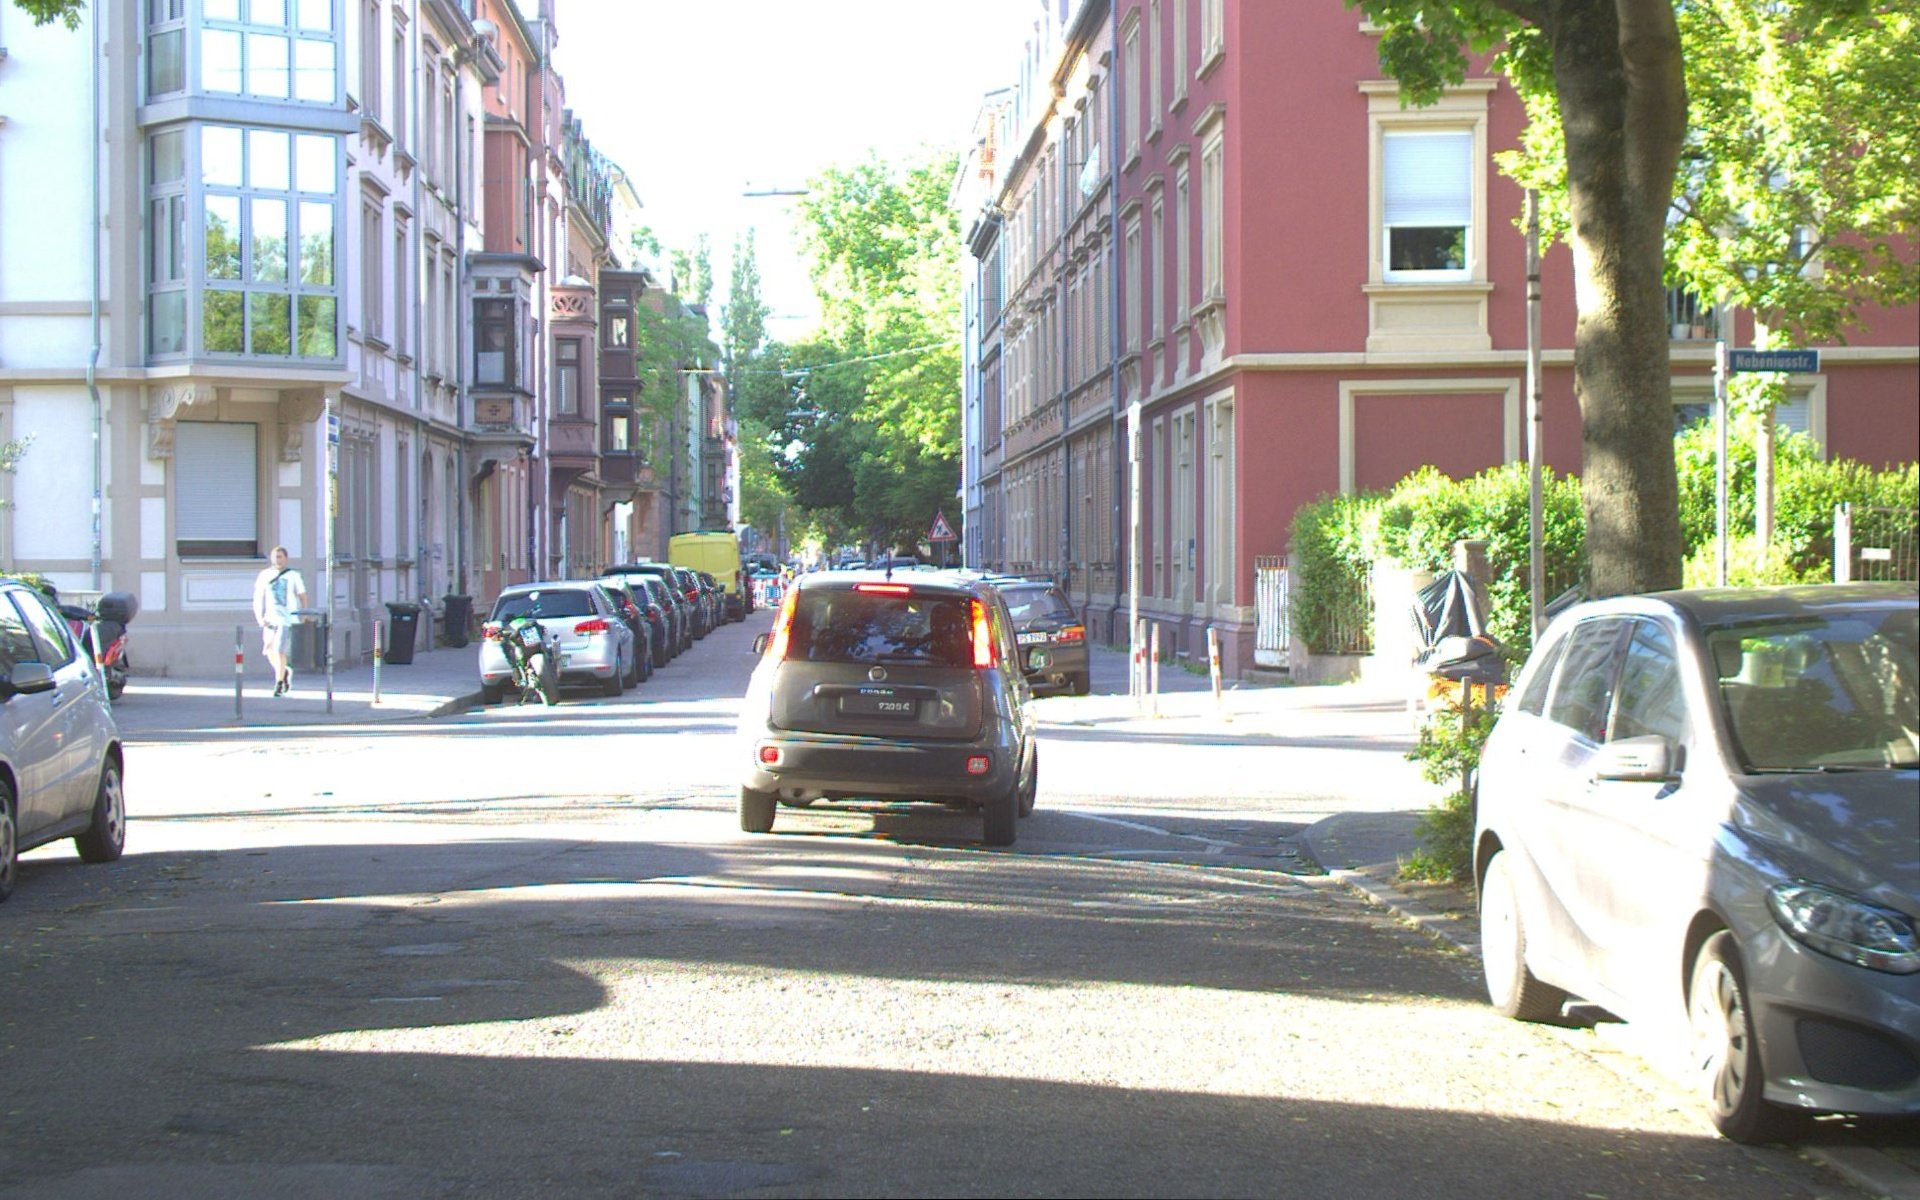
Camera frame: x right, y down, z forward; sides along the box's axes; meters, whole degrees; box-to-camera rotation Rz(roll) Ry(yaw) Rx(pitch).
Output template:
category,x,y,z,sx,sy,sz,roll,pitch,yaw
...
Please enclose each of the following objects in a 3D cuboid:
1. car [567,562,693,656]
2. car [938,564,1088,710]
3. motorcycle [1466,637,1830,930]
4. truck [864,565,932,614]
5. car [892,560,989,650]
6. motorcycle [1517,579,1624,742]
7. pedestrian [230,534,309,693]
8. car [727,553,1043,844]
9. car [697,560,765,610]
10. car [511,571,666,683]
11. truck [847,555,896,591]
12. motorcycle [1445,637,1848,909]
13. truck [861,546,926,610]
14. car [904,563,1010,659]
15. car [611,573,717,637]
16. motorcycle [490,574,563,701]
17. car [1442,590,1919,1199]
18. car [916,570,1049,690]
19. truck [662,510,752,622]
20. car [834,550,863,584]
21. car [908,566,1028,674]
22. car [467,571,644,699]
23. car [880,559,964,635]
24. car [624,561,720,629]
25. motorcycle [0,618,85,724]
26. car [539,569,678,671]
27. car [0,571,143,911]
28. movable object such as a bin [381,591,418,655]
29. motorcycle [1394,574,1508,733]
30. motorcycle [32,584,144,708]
category,x,y,z,sx,sy,sz,roll,pitch,yaw
car,-5.766,0.126,60.463,1.828,1.474,3.925,-4,1,-1
car,0.600,0.410,41.775,1.663,1.663,3.757,1,1,-1
motorcycle,3.133,0.824,15.724,1.502,1.262,0.619,-1,1,-3
truck,-1.903,-0.334,105.130,1.993,1.452,4.000,0,1,-2
car,-0.376,0.068,61.841,1.663,1.527,3.757,1,1,-1
motorcycle,5.791,0.549,32.745,0.826,1.399,2.556,0,2,6
pedestrian,-8.078,0.150,40.235,0.723,1.833,0.626,1,1,9
car,-0.375,0.521,20.537,1.633,1.545,3.264,2,1,2
car,-7.437,-0.497,111.914,1.961,1.474,3.925,-4,1,-1
car,-5.267,0.357,49.154,1.777,1.408,3.925,-4,1,-1
truck,-3.732,-1.143,144.666,1.993,1.452,4.000,0,1,-2
motorcycle,3.298,0.828,16.540,1.851,1.262,0.504,-1,1,13
truck,-2.150,-0.724,110.502,1.993,1.985,4.000,0,1,-2
car,-0.081,0.158,57.257,1.663,1.500,3.757,1,1,-1
car,-6.419,0.093,74.899,1.961,1.220,3.925,-4,1,-1
motorcycle,-5.151,0.432,40.769,0.696,1.455,1.751,-1,1,-11
car,2.904,0.750,11.107,1.788,1.545,4.410,0,0,-4
car,0.267,0.369,46.261,1.663,1.500,3.757,1,1,-1
truck,-7.070,-0.968,96.646,2.070,2.916,5.068,-4,1,-1
car,-5.325,-1.595,164.238,1.367,1.612,3.414,0,1,-1
car,0.084,0.265,50.856,1.663,1.500,3.757,1,1,-1
car,-5.135,0.413,44.069,1.797,1.427,3.925,-4,1,-1
car,-0.797,-0.084,70.919,1.663,1.500,3.757,1,1,-1
car,-6.887,-0.137,82.542,1.961,1.474,3.925,-4,1,-1
motorcycle,-9.768,0.721,35.121,0.689,0.982,1.820,4,2,18
car,-5.614,0.294,55.364,1.825,1.462,3.925,-4,1,-1
car,-5.392,0.689,17.345,1.696,1.545,3.920,-3,1,-3
movable object such as a bin,-8.458,0.350,51.865,0.511,0.949,0.501,0,1,-5
motorcycle,4.783,0.490,33.364,1.020,1.399,2.191,0,3,10
motorcycle,-9.495,0.488,37.481,0.518,1.289,1.611,1,1,12
